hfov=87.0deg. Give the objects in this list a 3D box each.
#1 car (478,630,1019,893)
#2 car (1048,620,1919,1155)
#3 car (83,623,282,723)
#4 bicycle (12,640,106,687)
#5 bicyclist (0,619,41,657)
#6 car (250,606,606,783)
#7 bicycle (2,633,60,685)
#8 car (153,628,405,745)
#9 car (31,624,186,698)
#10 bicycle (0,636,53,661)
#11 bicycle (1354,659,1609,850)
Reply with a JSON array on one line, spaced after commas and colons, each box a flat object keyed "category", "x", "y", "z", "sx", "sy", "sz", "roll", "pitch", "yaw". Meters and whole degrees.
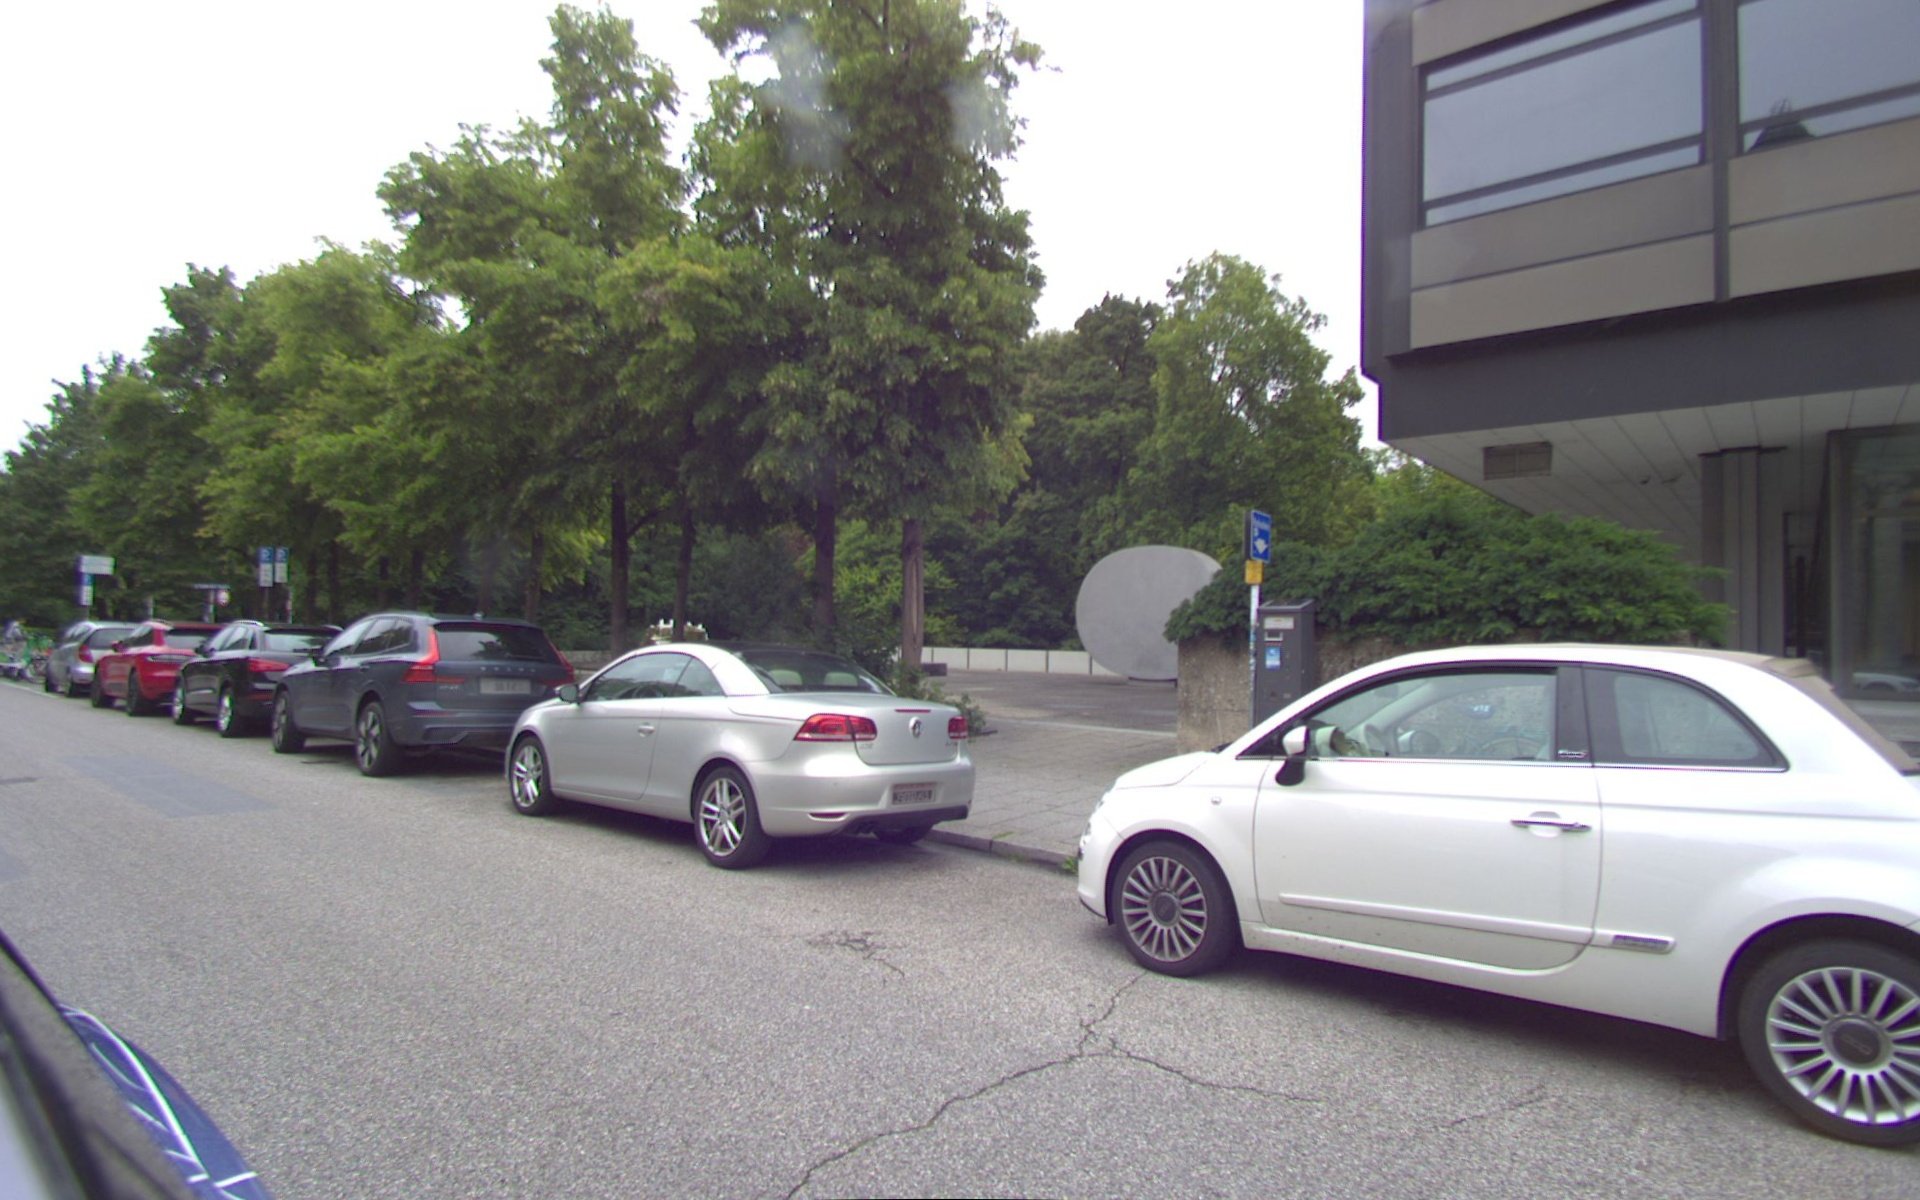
[{"category": "car", "x": -1.766, "y": 0.986, "z": 7.551, "sx": 4.216, "sy": 1.411, "sz": 1.739, "roll": -1, "pitch": -6, "yaw": 42}, {"category": "car", "x": 2.264, "y": 0.864, "z": 4.195, "sx": 3.550, "sy": 1.482, "sz": 1.528, "roll": -1, "pitch": -4, "yaw": 40}, {"category": "car", "x": -13.871, "y": 1.218, "z": 17.969, "sx": 4.362, "sy": 1.556, "sz": 1.972, "roll": -1, "pitch": -3, "yaw": 41}, {"category": "bicycle", "x": -22.990, "y": 1.601, "z": 25.860, "sx": 0.597, "sy": 1.116, "sz": 1.682, "roll": -1, "pitch": -2, "yaw": 32}, {"category": "bicyclist", "x": -39.653, "y": 1.589, "z": 42.523, "sx": 1.284, "sy": 1.556, "sz": 0.894, "roll": -1, "pitch": 0, "yaw": -18}, {"category": "car", "x": -6.120, "y": 0.938, "z": 11.414, "sx": 4.518, "sy": 1.595, "sz": 1.973, "roll": -1, "pitch": -3, "yaw": 40}, {"category": "bicycle", "x": -24.373, "y": 1.538, "z": 26.587, "sx": 0.566, "sy": 1.292, "sz": 1.423, "roll": 0, "pitch": -1, "yaw": -17}, {"category": "car", "x": -10.216, "y": 1.172, "z": 15.044, "sx": 4.645, "sy": 1.472, "sz": 1.972, "roll": -1, "pitch": -3, "yaw": 42}, {"category": "car", "x": -18.965, "y": 1.309, "z": 22.490, "sx": 4.362, "sy": 1.472, "sz": 1.972, "roll": -1, "pitch": -3, "yaw": 41}, {"category": "bicycle", "x": -39.652, "y": 2.037, "z": 42.535, "sx": 2.131, "sy": 0.997, "sz": 0.790, "roll": -1, "pitch": 0, "yaw": -18}, {"category": "bicycle", "x": 3.736, "y": 1.047, "z": 7.313, "sx": 1.525, "sy": 1.173, "sz": 0.636, "roll": -1, "pitch": -1, "yaw": 39}]
